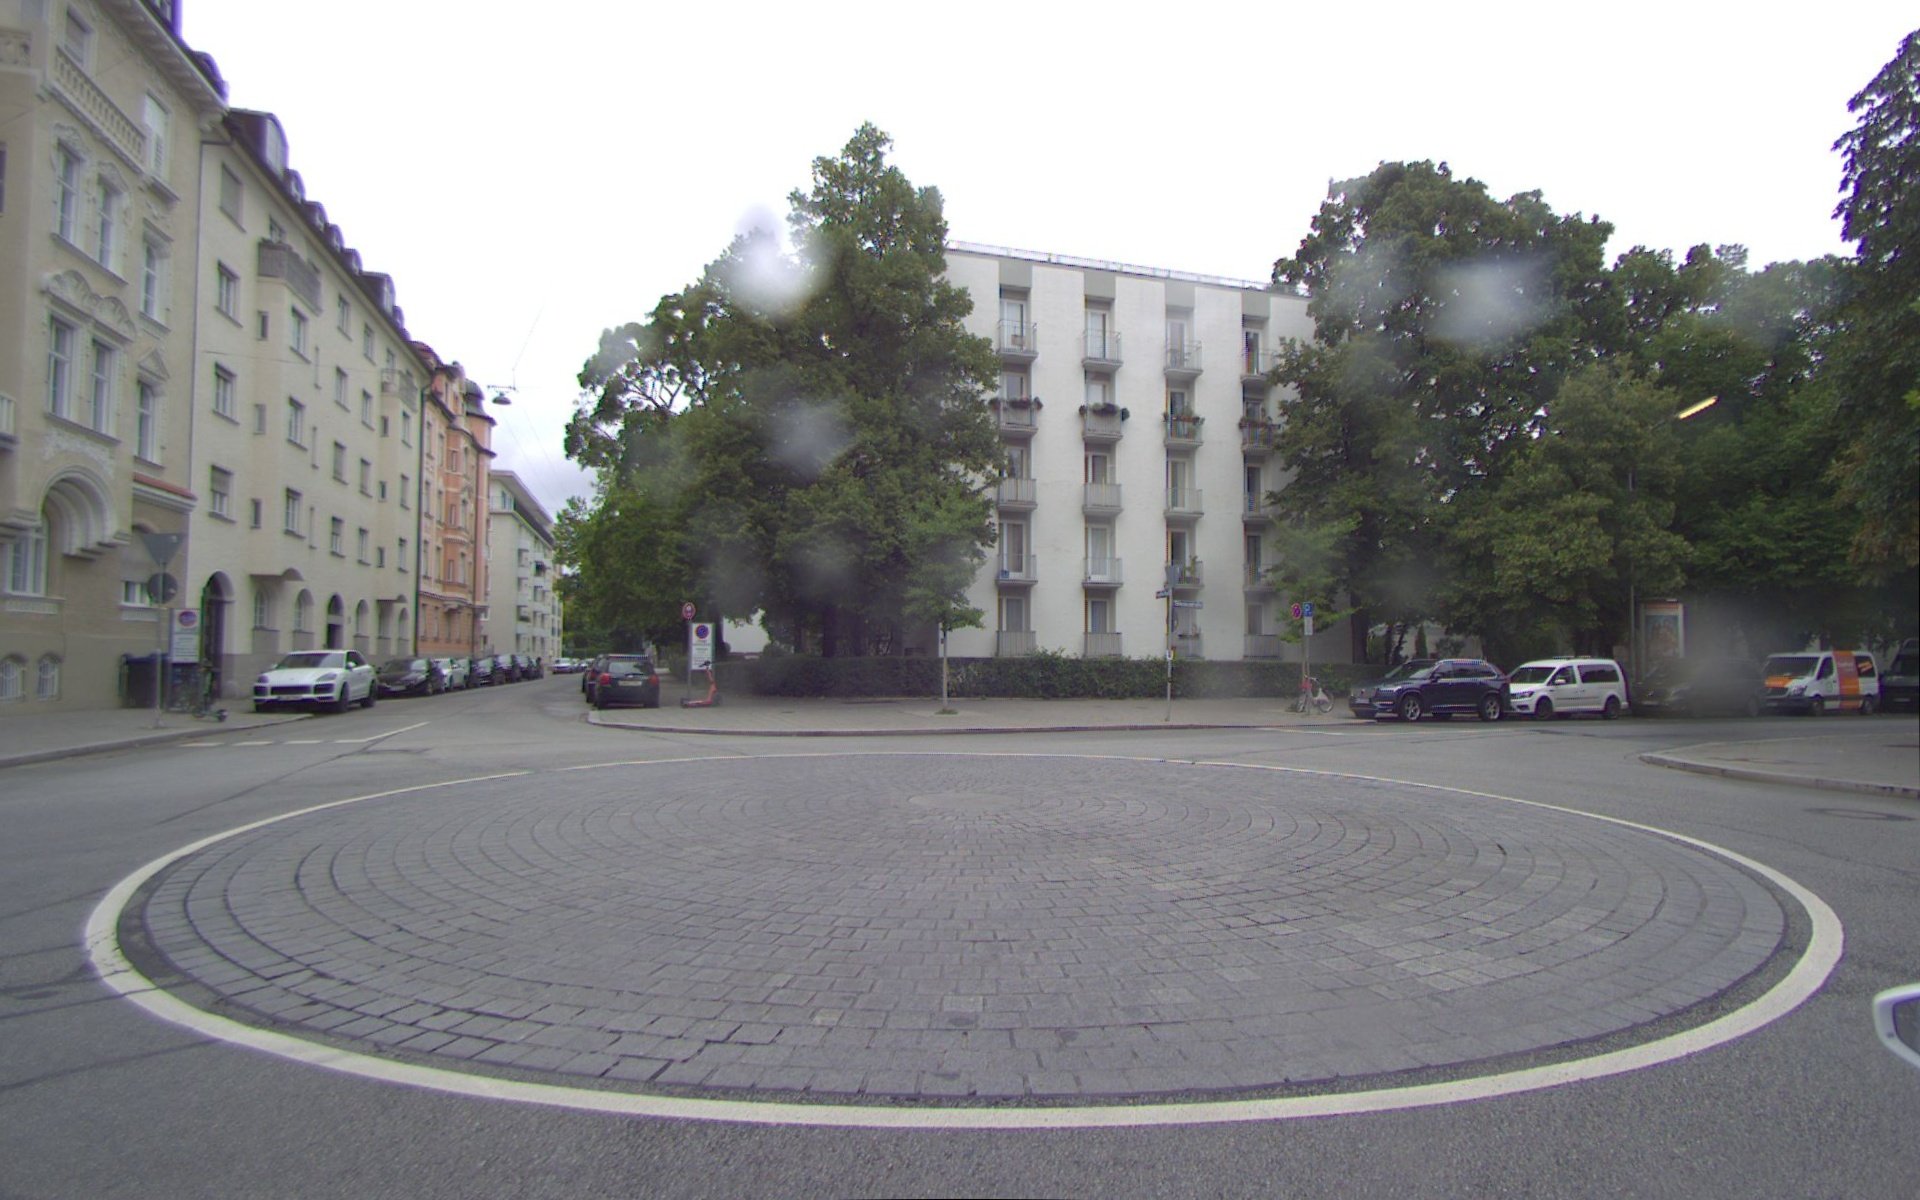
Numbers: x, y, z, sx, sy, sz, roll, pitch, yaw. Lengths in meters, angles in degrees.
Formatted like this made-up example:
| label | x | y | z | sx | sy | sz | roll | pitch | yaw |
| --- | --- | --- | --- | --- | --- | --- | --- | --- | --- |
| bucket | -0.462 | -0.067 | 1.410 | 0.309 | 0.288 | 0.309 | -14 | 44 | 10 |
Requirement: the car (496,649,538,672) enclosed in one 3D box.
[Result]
| label | x | y | z | sx | sy | sz | roll | pitch | yaw |
| --- | --- | --- | --- | --- | --- | --- | --- | --- | --- |
| car | -28.252 | 3.857 | 64.181 | 1.968 | 1.393 | 4.166 | 2 | -4 | -18 |

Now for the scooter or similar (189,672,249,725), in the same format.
| label | x | y | z | sx | sy | sz | roll | pitch | yaw |
| --- | --- | --- | --- | --- | --- | --- | --- | --- | --- |
| scooter or similar | -16.515 | 2.186 | 22.381 | 1.322 | 1.123 | 0.541 | -1 | -3 | 29 |

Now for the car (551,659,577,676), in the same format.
| label | x | y | z | sx | sy | sz | roll | pitch | yaw |
| --- | --- | --- | --- | --- | --- | --- | --- | --- | --- |
| car | -39.047 | 6.622 | 99.128 | 1.921 | 1.659 | 3.987 | 1 | -4 | -16 |

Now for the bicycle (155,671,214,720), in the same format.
| label | x | y | z | sx | sy | sz | roll | pitch | yaw |
| --- | --- | --- | --- | --- | --- | --- | --- | --- | --- |
| bicycle | -18.383 | 2.246 | 23.863 | 0.645 | 1.082 | 1.964 | 2 | -4 | -25 |

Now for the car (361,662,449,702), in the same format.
| label | x | y | z | sx | sy | sz | roll | pitch | yaw |
| --- | --- | --- | --- | --- | --- | --- | --- | --- | --- |
| car | -20.644 | 3.016 | 37.545 | 1.968 | 1.376 | 4.463 | 2 | -4 | -18 |

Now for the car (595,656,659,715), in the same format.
| label | x | y | z | sx | sy | sz | roll | pitch | yaw |
| --- | --- | --- | --- | --- | --- | --- | --- | --- | --- |
| car | -9.726 | 2.441 | 29.427 | 1.649 | 1.548 | 3.664 | -1 | -3 | -18 |

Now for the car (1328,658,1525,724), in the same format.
| label | x | y | z | sx | sy | sz | roll | pitch | yaw |
| --- | --- | --- | --- | --- | --- | --- | --- | --- | --- |
| car | 13.308 | 2.565 | 28.676 | 5.226 | 1.741 | 2.081 | 2 | -4 | -21 |

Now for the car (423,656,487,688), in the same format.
| label | x | y | z | sx | sy | sz | roll | pitch | yaw |
| --- | --- | --- | --- | --- | --- | --- | --- | --- | --- |
| car | -23.453 | 3.326 | 46.827 | 1.968 | 1.393 | 4.166 | 2 | -4 | -18 |

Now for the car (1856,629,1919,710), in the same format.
| label | x | y | z | sx | sy | sz | roll | pitch | yaw |
| --- | --- | --- | --- | --- | --- | --- | --- | --- | --- |
| car | 38.675 | 2.767 | 39.954 | 6.148 | 3.041 | 2.167 | 2 | -4 | -25 |

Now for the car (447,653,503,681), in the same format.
| label | x | y | z | sx | sy | sz | roll | pitch | yaw |
| --- | --- | --- | --- | --- | --- | --- | --- | --- | --- |
| car | -24.810 | 3.422 | 51.542 | 1.968 | 1.393 | 4.166 | 2 | -4 | -18 |

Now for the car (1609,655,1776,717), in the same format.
| label | x | y | z | sx | sy | sz | roll | pitch | yaw |
| --- | --- | --- | --- | --- | --- | --- | --- | --- | --- |
| car | 24.407 | 2.852 | 33.449 | 5.591 | 1.932 | 2.021 | 2 | -5 | -25 |

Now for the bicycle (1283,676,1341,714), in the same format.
| label | x | y | z | sx | sy | sz | roll | pitch | yaw |
| --- | --- | --- | --- | --- | --- | --- | --- | --- | --- |
| bicycle | 10.649 | 2.846 | 30.347 | 1.766 | 1.099 | 0.747 | 3 | -4 | -34 |

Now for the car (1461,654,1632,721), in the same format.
| label | x | y | z | sx | sy | sz | roll | pitch | yaw |
| --- | --- | --- | --- | --- | --- | --- | --- | --- | --- |
| car | 17.994 | 2.648 | 30.817 | 4.789 | 1.928 | 2.080 | 2 | -4 | -23 |

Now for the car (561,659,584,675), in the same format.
| label | x | y | z | sx | sy | sz | roll | pitch | yaw |
| --- | --- | --- | --- | --- | --- | --- | --- | --- | --- |
| car | -41.622 | 7.146 | 107.943 | 1.921 | 1.659 | 3.987 | 1 | -4 | -16 |

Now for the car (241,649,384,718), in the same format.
| label | x | y | z | sx | sy | sz | roll | pitch | yaw |
| --- | --- | --- | --- | --- | --- | --- | --- | --- | --- |
| car | -17.526 | 2.228 | 27.492 | 1.968 | 1.697 | 4.973 | 2 | -4 | -17 |

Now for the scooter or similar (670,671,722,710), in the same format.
| label | x | y | z | sx | sy | sz | roll | pitch | yaw |
| --- | --- | --- | --- | --- | --- | --- | --- | --- | --- |
| scooter or similar | -7.263 | 2.470 | 27.642 | 1.295 | 1.037 | 0.525 | 2 | -3 | -29 |

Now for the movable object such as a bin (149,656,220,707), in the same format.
| label | x | y | z | sx | sy | sz | roll | pitch | yaw |
| --- | --- | --- | --- | --- | --- | --- | --- | --- | --- |
| movable object such as a bin | -21.536 | 2.255 | 27.931 | 1.129 | 1.389 | 1.177 | 1 | -3 | -15 |

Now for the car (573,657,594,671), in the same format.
| label | x | y | z | sx | sy | sz | roll | pitch | yaw |
| --- | --- | --- | --- | --- | --- | --- | --- | --- | --- |
| car | -43.773 | 7.428 | 116.824 | 1.921 | 1.659 | 3.987 | 1 | -4 | -16 |

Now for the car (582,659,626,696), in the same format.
| label | x | y | z | sx | sy | sz | roll | pitch | yaw |
| --- | --- | --- | --- | --- | --- | --- | --- | --- | --- |
| car | -15.453 | 3.341 | 43.750 | 1.649 | 1.476 | 3.664 | -1 | -3 | -18 |

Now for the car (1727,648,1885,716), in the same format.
| label | x | y | z | sx | sy | sz | roll | pitch | yaw |
| --- | --- | --- | --- | --- | --- | --- | --- | --- | --- |
| car | 30.665 | 2.982 | 36.403 | 5.524 | 2.293 | 2.080 | 2 | -5 | -23 |

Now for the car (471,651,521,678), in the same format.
| label | x | y | z | sx | sy | sz | roll | pitch | yaw |
| --- | --- | --- | --- | --- | --- | --- | --- | --- | --- |
| car | -25.881 | 3.598 | 56.147 | 1.968 | 1.393 | 4.166 | 2 | -4 | -18 |

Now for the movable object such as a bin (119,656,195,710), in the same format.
| label | x | y | z | sx | sy | sz | roll | pitch | yaw |
| --- | --- | --- | --- | --- | --- | --- | --- | --- | --- |
| movable object such as a bin | -21.335 | 2.204 | 26.727 | 1.129 | 1.389 | 1.177 | 1 | -3 | -15 |

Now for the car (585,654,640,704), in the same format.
| label | x | y | z | sx | sy | sz | roll | pitch | yaw |
| --- | --- | --- | --- | --- | --- | --- | --- | --- | --- |
| car | -11.809 | 2.652 | 34.273 | 1.649 | 1.548 | 3.664 | -1 | -3 | -18 |

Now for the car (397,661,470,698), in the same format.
| label | x | y | z | sx | sy | sz | roll | pitch | yaw |
| --- | --- | --- | --- | --- | --- | --- | --- | --- | --- |
| car | -22.053 | 3.318 | 42.247 | 1.968 | 1.468 | 4.166 | 2 | -4 | -18 |
